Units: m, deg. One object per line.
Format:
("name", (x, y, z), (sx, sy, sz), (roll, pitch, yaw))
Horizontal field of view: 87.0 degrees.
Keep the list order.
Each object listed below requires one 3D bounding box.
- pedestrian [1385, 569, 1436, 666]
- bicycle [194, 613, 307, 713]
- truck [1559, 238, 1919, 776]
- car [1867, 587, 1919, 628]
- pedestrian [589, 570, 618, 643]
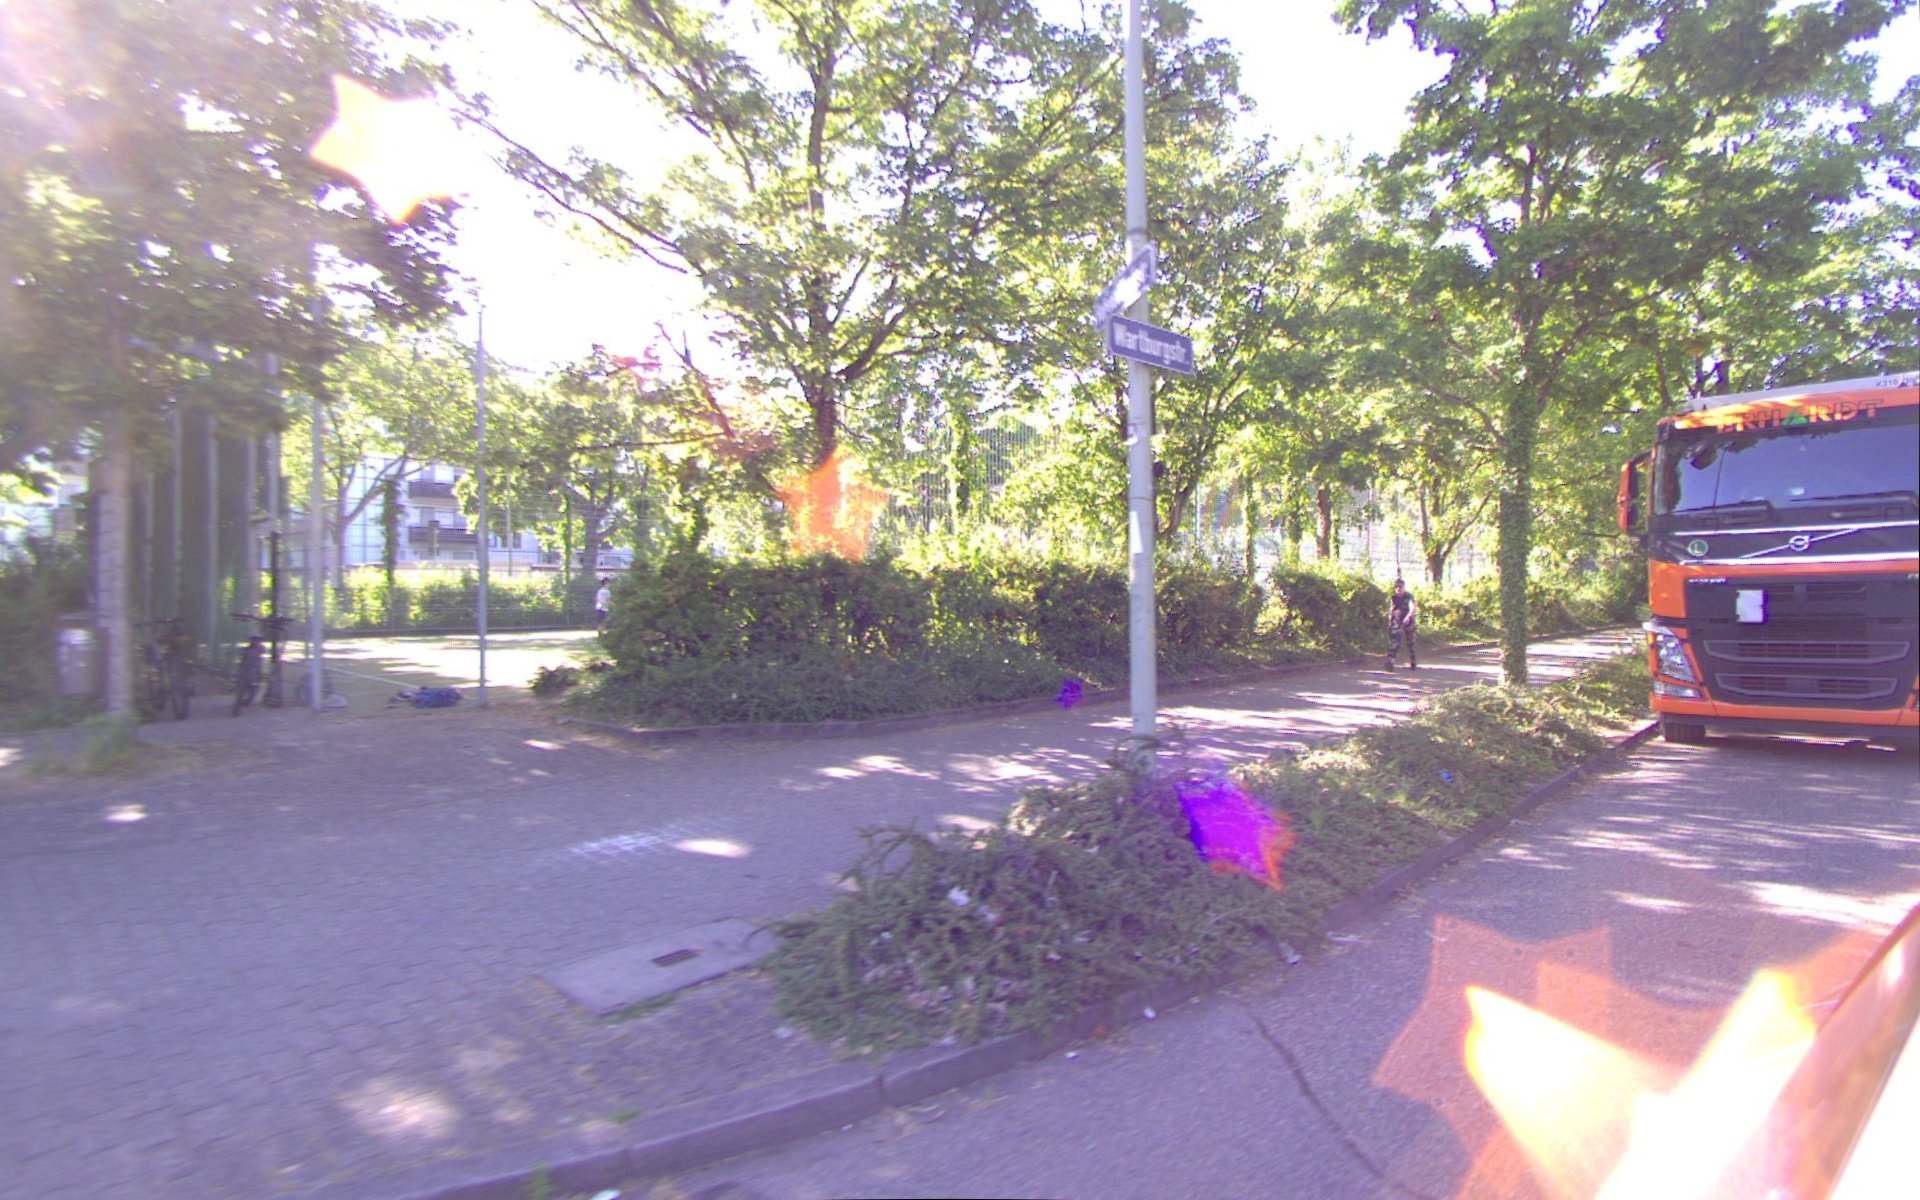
("pedestrian", (7.861, 0.296, 17.658), (0.630, 1.659, 0.640), (0, 0, -44))
("bicycle", (-7.051, 0.614, 10.070), (0.889, 0.970, 0.295), (0, 0, -5))
("truck", (10.675, -0.805, 12.800), (3.158, 4.399, 10.418), (0, 0, 43))
("car", (41.899, 0.311, 45.187), (1.991, 1.730, 4.267), (0, 0, 41))
("pedestrian", (-7.640, 0.138, 21.684), (0.435, 1.555, 0.423), (0, 0, 39))
